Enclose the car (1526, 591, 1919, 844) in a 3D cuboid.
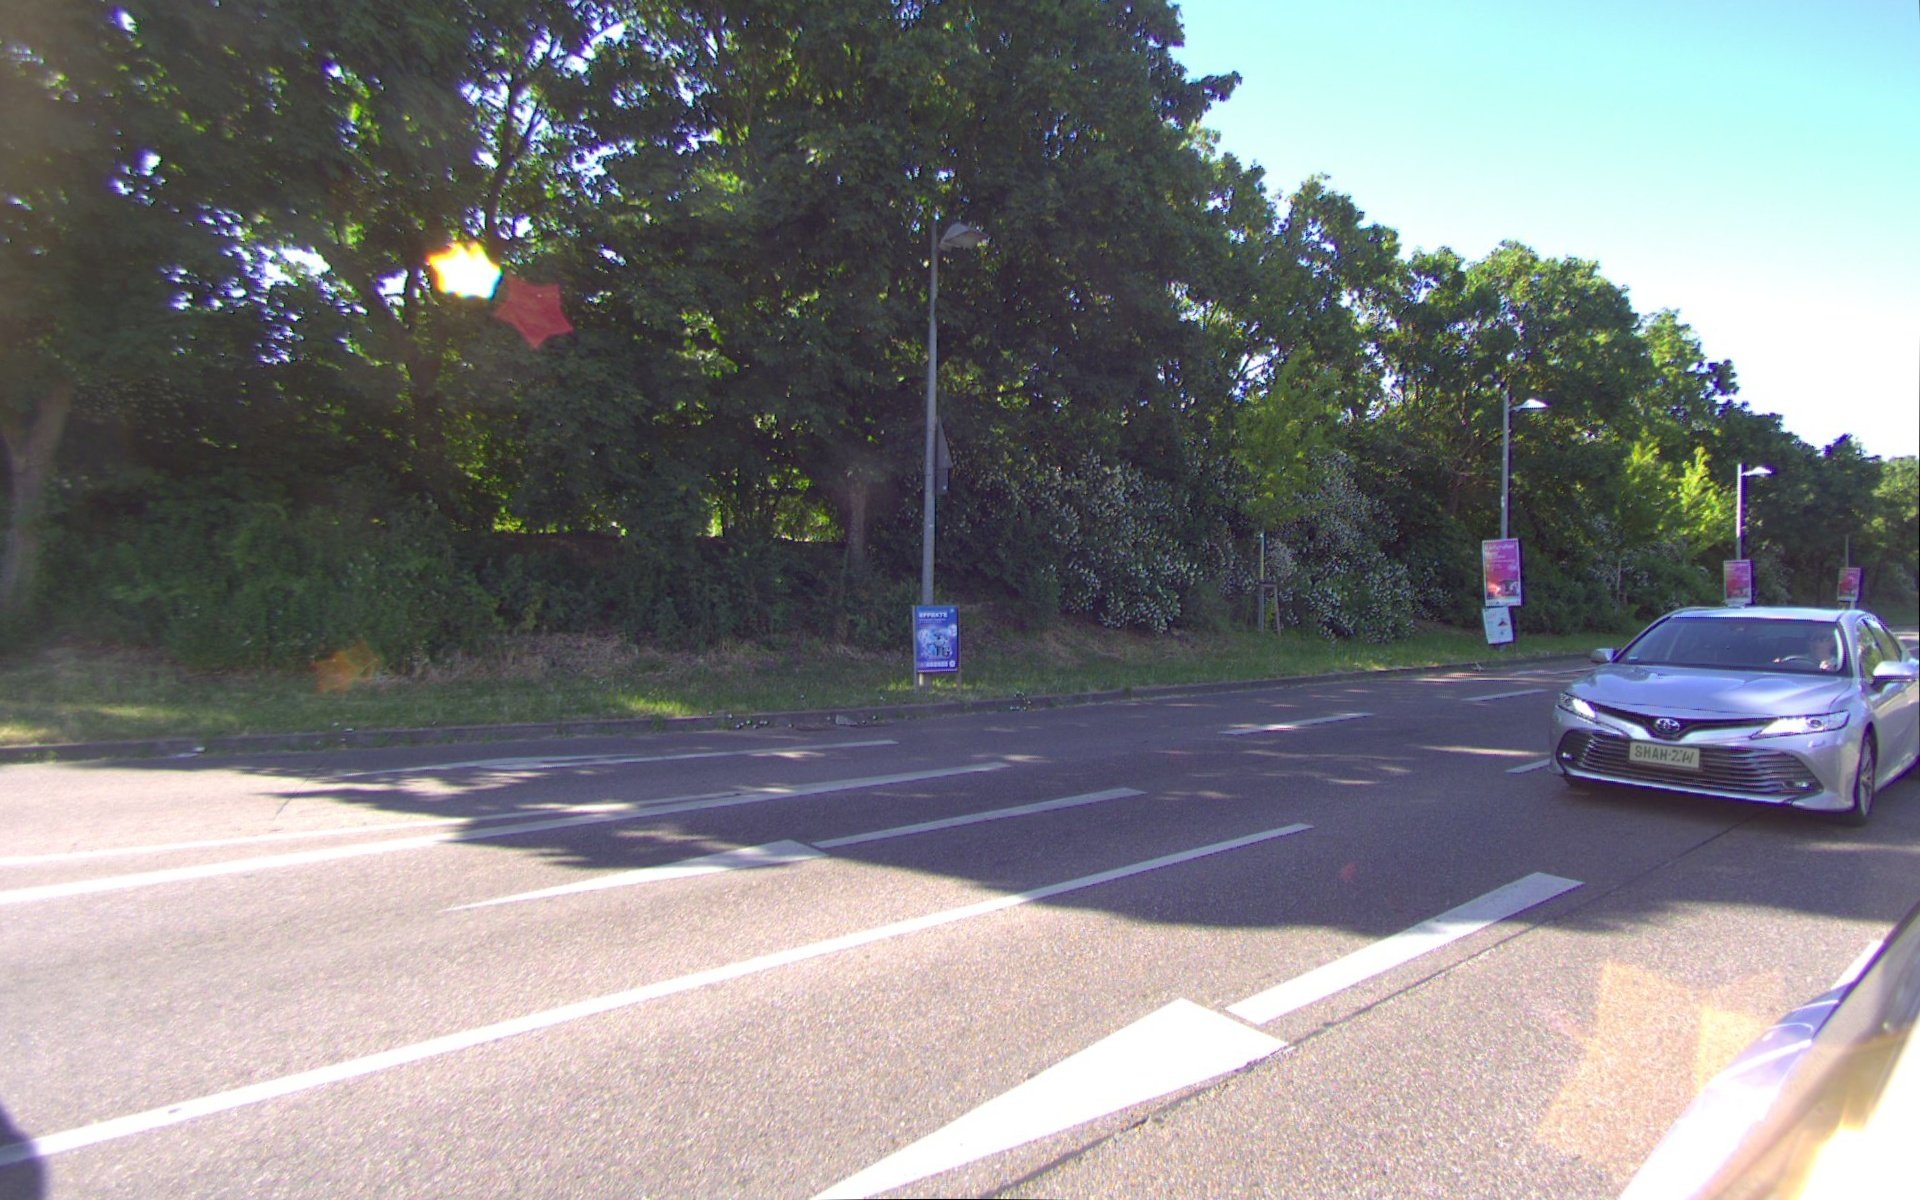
[{"bbox_3d":[6.495,0.684,8.162,4.512,1.454,1.875,0,1,-40],"label":"car"}]
